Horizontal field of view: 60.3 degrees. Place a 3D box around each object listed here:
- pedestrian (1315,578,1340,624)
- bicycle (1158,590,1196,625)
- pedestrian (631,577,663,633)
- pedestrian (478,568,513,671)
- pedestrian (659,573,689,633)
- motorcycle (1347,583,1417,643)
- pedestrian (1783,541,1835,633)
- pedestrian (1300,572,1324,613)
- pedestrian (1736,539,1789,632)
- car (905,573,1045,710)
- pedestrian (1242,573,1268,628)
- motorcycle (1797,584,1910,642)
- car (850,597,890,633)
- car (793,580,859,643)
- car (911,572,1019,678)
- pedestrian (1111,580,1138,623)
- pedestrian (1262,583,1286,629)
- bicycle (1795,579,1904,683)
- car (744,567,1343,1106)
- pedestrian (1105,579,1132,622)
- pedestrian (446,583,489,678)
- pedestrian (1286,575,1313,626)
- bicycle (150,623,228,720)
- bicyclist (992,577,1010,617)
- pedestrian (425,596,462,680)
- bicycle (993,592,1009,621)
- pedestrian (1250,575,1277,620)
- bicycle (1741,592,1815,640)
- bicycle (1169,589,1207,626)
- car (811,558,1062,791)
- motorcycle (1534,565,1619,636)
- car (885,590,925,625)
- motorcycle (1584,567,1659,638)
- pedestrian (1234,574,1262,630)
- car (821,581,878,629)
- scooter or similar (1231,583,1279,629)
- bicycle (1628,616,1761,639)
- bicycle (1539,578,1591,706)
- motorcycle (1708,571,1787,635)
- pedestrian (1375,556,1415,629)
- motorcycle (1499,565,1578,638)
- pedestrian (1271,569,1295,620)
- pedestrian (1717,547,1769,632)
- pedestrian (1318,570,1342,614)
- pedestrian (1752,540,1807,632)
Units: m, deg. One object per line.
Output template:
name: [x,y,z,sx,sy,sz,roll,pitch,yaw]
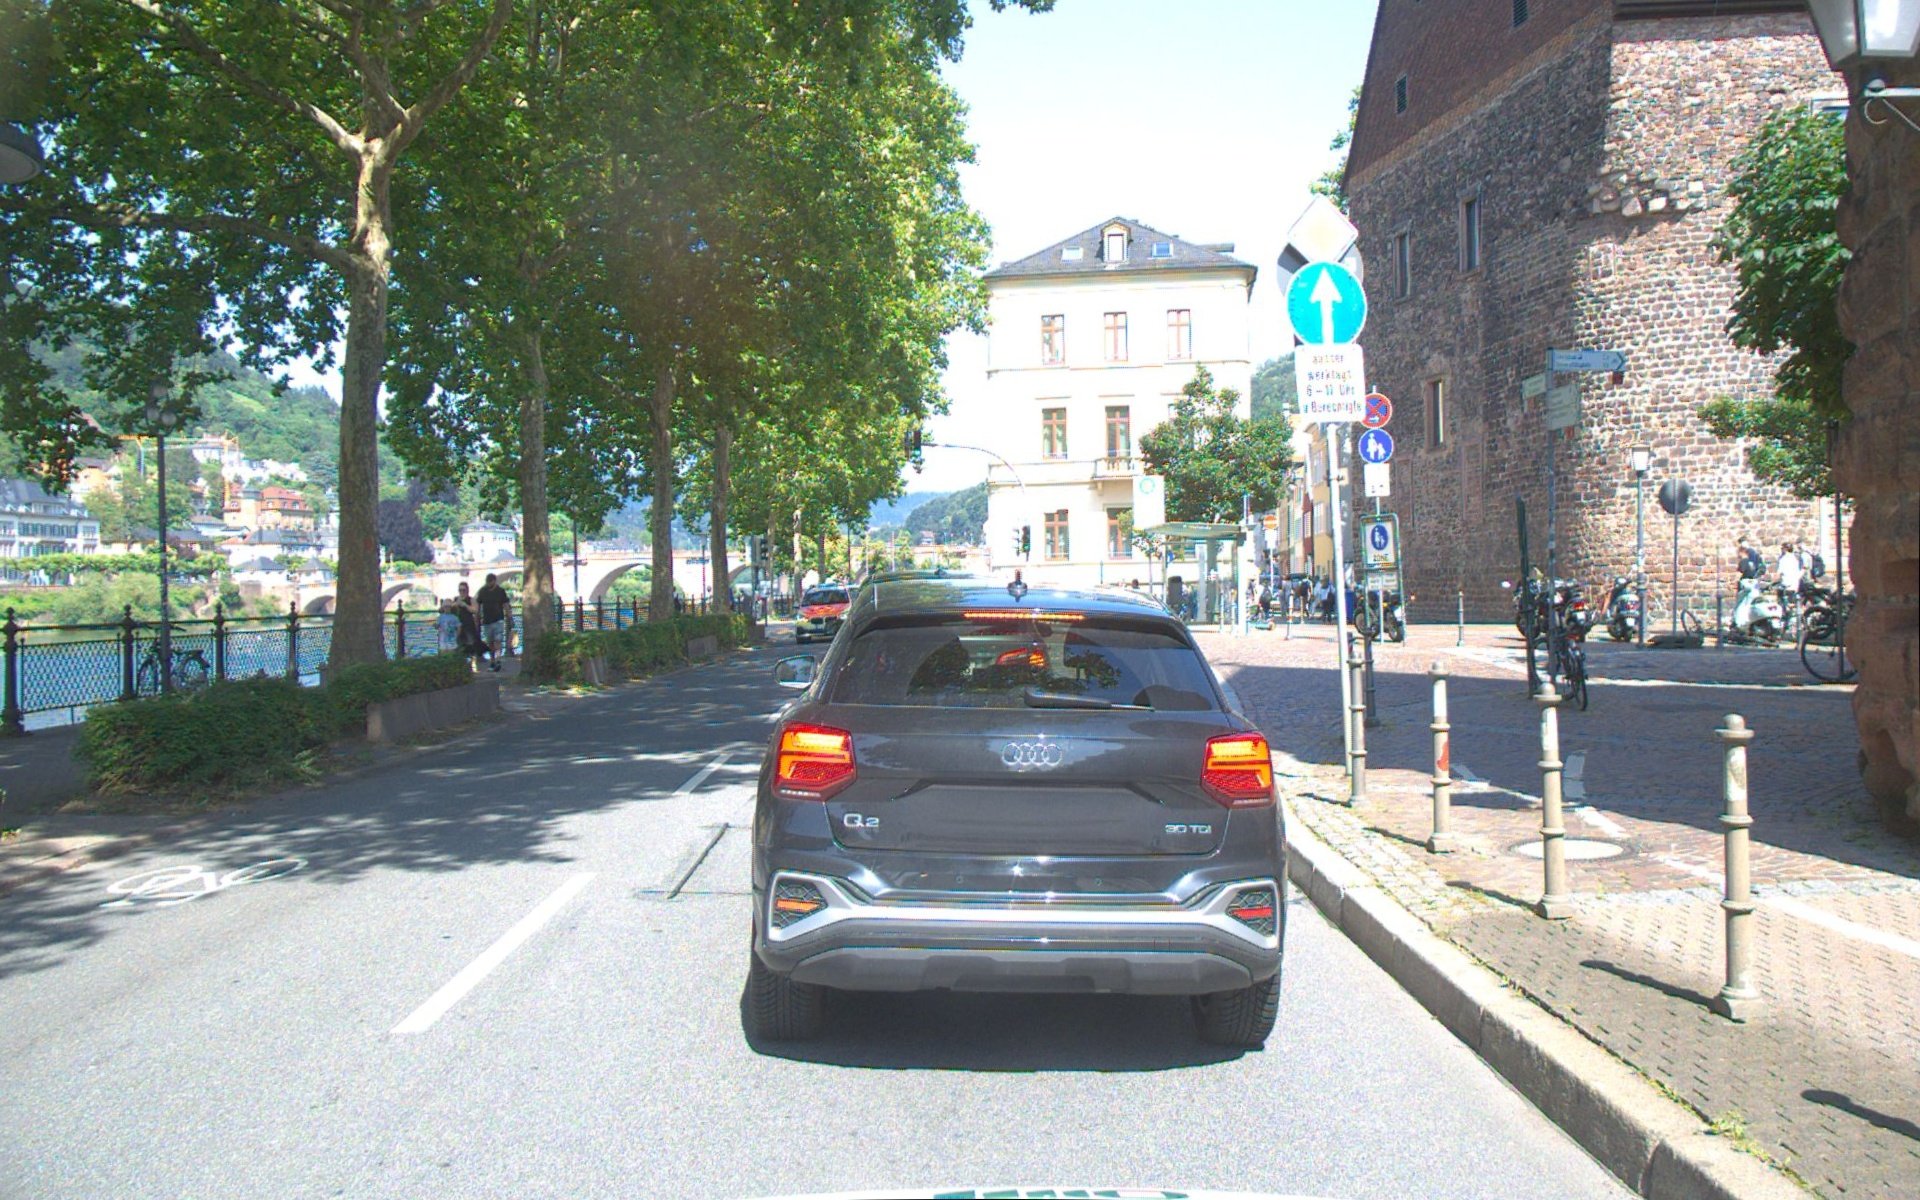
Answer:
pedestrian: [13.564,0.024,61.023,0.677,1.640,0.891,-2,0,24]
bicycle: [6.530,0.216,49.699,1.166,1.033,0.178,1,-1,-20]
pedestrian: [-10.355,0.169,54.749,0.891,1.843,0.586,1,-1,3]
pedestrian: [-8.726,0.359,31.072,0.523,1.920,0.436,0,0,-1]
pedestrian: [-9.892,0.112,57.189,0.891,2.049,0.586,1,-1,3]
motorcycle: [7.696,0.215,30.264,0.555,1.030,2.489,-1,1,-2]
pedestrian: [18.209,-0.269,35.475,0.665,1.954,0.808,1,-1,-42]
pedestrian: [13.658,-0.293,64.184,0.760,1.591,0.646,-2,0,4]
pedestrian: [17.897,-0.318,36.887,0.727,2.049,0.864,1,-1,-43]
car: [0.150,0.483,21.619,1.676,1.637,3.654,0,0,-1]
pedestrian: [7.611,0.013,42.696,0.546,1.409,0.588,1,-1,1]
motorcycle: [16.901,0.247,31.306,1.826,1.072,0.480,1,-1,7]
car: [-4.513,0.752,83.405,1.703,1.599,4.091,-4,1,-1]
car: [-3.952,0.312,49.316,1.639,1.689,4.222,-3,0,-1]
car: [0.057,0.389,29.101,1.758,1.711,3.999,1,0,-1]
pedestrian: [4.792,0.032,48.258,0.651,1.233,0.640,1,-1,-7]
pedestrian: [14.085,0.262,74.200,0.925,2.049,0.807,1,-1,-1]
bicycle: [10.604,0.342,19.768,0.437,1.182,1.731,-1,1,3]
car: [0.217,0.667,6.604,1.707,1.535,3.646,1,1,-1]
pedestrian: [4.684,0.009,48.980,0.651,1.253,0.640,1,-1,-7]
pedestrian: [-9.041,0.548,30.368,0.589,1.715,0.583,-1,0,-2]
pedestrian: [13.897,0.016,67.756,0.921,2.049,0.807,1,-1,0]
bicycle: [-9.529,0.869,20.467,0.352,1.110,1.295,2,0,-2]
bicyclist: [1.538,-0.111,62.543,0.593,1.475,0.590,1,-1,-6]
pedestrian: [-8.561,0.626,27.423,0.469,1.386,0.417,1,0,3]
bicycle: [1.555,0.249,62.569,0.428,1.105,1.675,1,0,-5]
pedestrian: [10.261,-0.084,55.918,0.626,1.469,0.797,-2,0,-7]
bicycle: [15.131,0.287,30.626,0.346,0.835,1.926,1,1,-2]
bicycle: [6.763,0.225,49.068,1.184,1.053,0.178,1,-1,-20]
car: [-0.190,0.517,13.448,1.756,1.623,3.398,1,0,-1]
motorcycle: [11.325,0.012,30.457,0.661,1.257,2.312,1,0,-1]
car: [-2.988,0.394,90.399,1.952,1.838,4.000,1,0,1]
motorcycle: [12.192,0.047,30.550,0.535,1.257,2.030,1,0,-1]
pedestrian: [10.129,0.069,58.107,0.734,1.923,0.750,-1,0,32]
car: [-4.277,0.181,64.517,1.732,1.688,4.001,-4,0,2]
scooter or similar: [7.040,0.147,39.502,1.067,1.084,0.323,1,-1,-3]
bicycle: [12.279,0.460,27.707,1.887,0.388,0.918,0,-1,14]
bicycle: [6.153,0.399,16.860,0.189,1.225,1.771,0,1,10]
motorcycle: [14.034,0.060,29.516,0.496,1.092,1.839,1,0,-1]
pedestrian: [10.201,-0.182,38.782,0.790,1.691,0.656,-1,0,22]
motorcycle: [10.516,0.032,30.157,0.642,1.288,2.199,0,0,-1]
pedestrian: [13.296,-0.224,68.127,0.822,2.049,0.738,1,-1,-1]
pedestrian: [17.132,-0.234,36.204,0.647,1.834,0.836,0,0,-37]
pedestrian: [14.193,-0.316,63.457,0.760,1.649,0.645,-2,0,1]
pedestrian: [17.399,-0.284,35.117,0.662,1.917,0.812,1,-1,-32]
